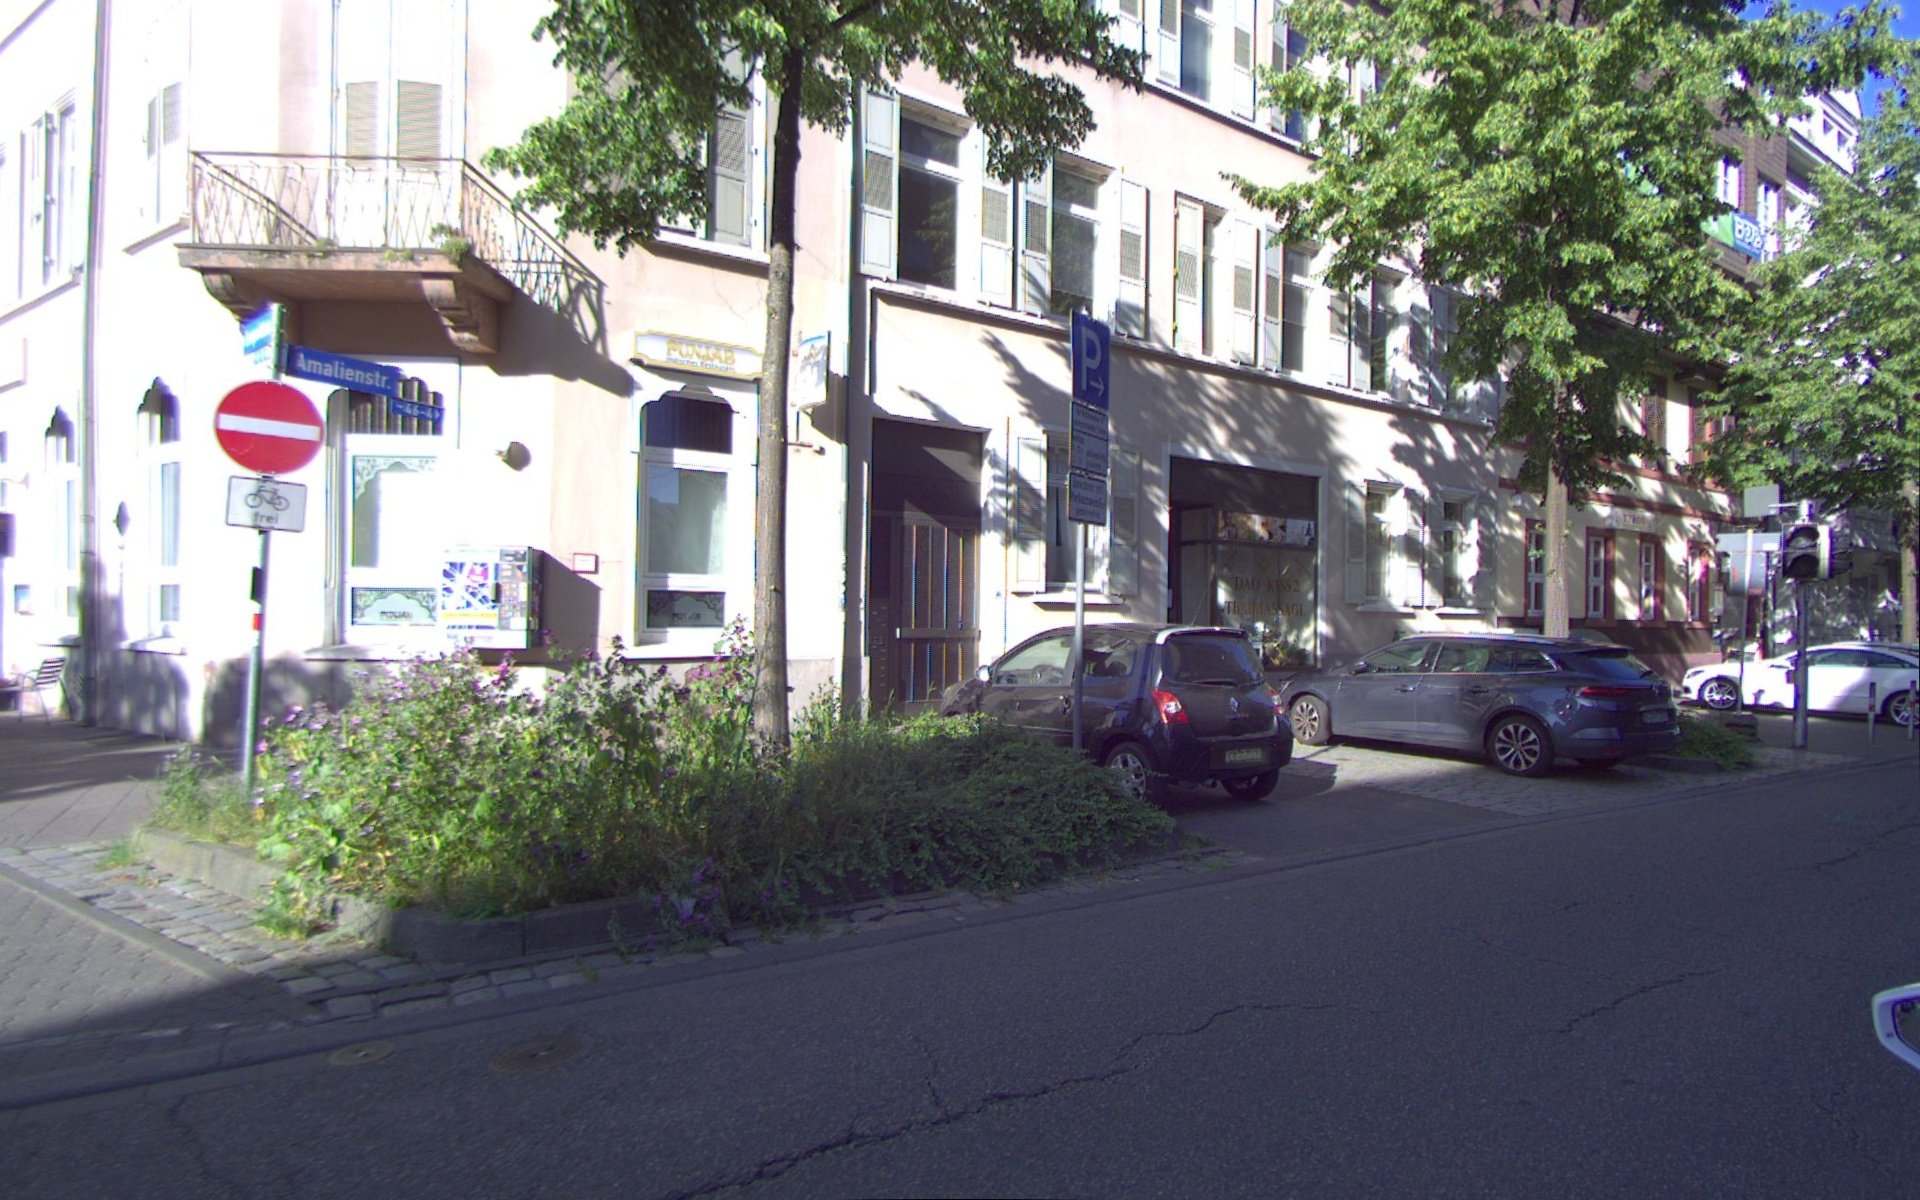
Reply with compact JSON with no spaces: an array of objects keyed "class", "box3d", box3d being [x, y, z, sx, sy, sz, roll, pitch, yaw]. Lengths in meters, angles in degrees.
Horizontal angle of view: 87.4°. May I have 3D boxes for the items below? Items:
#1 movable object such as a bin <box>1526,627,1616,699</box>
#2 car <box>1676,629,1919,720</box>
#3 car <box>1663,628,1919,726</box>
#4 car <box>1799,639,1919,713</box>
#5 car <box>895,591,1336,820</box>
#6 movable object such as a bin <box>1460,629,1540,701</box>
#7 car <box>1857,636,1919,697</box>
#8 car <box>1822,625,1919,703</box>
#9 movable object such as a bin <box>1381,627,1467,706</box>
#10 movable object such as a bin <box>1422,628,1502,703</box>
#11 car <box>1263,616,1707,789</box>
[{"class":"movable object such as a bin","box3d":[13.185,1.340,21.673,1.365,1.464,1.128,2,0,-30]},{"class":"car","box3d":[18.002,1.485,20.909,1.982,1.512,4.664,1,1,-37]},{"class":"car","box3d":[16.421,1.423,19.053,1.982,1.512,4.664,3,-1,-37]},{"class":"car","box3d":[22.141,1.775,23.032,1.951,1.565,4.296,2,-1,-44]},{"class":"car","box3d":[1.239,0.784,9.513,1.925,1.662,3.961,2,-1,-35]},{"class":"movable object such as a bin","box3d":[10.893,1.291,20.261,1.329,1.380,0.813,2,0,-30]},{"class":"car","box3d":[26.467,1.800,26.110,1.893,1.565,4.321,2,-1,-28]},{"class":"car","box3d":[24.289,1.606,24.684,1.908,1.848,4.317,2,-1,-31]},{"class":"movable object such as a bin","box3d":[8.718,1.234,18.878,1.246,1.385,0.905,2,0,-30]},{"class":"movable object such as a bin","box3d":[9.778,1.264,19.573,1.234,1.373,0.825,2,0,-30]},{"class":"car","box3d":[5.934,1.033,11.928,1.922,1.565,4.317,2,-1,-31]}]
